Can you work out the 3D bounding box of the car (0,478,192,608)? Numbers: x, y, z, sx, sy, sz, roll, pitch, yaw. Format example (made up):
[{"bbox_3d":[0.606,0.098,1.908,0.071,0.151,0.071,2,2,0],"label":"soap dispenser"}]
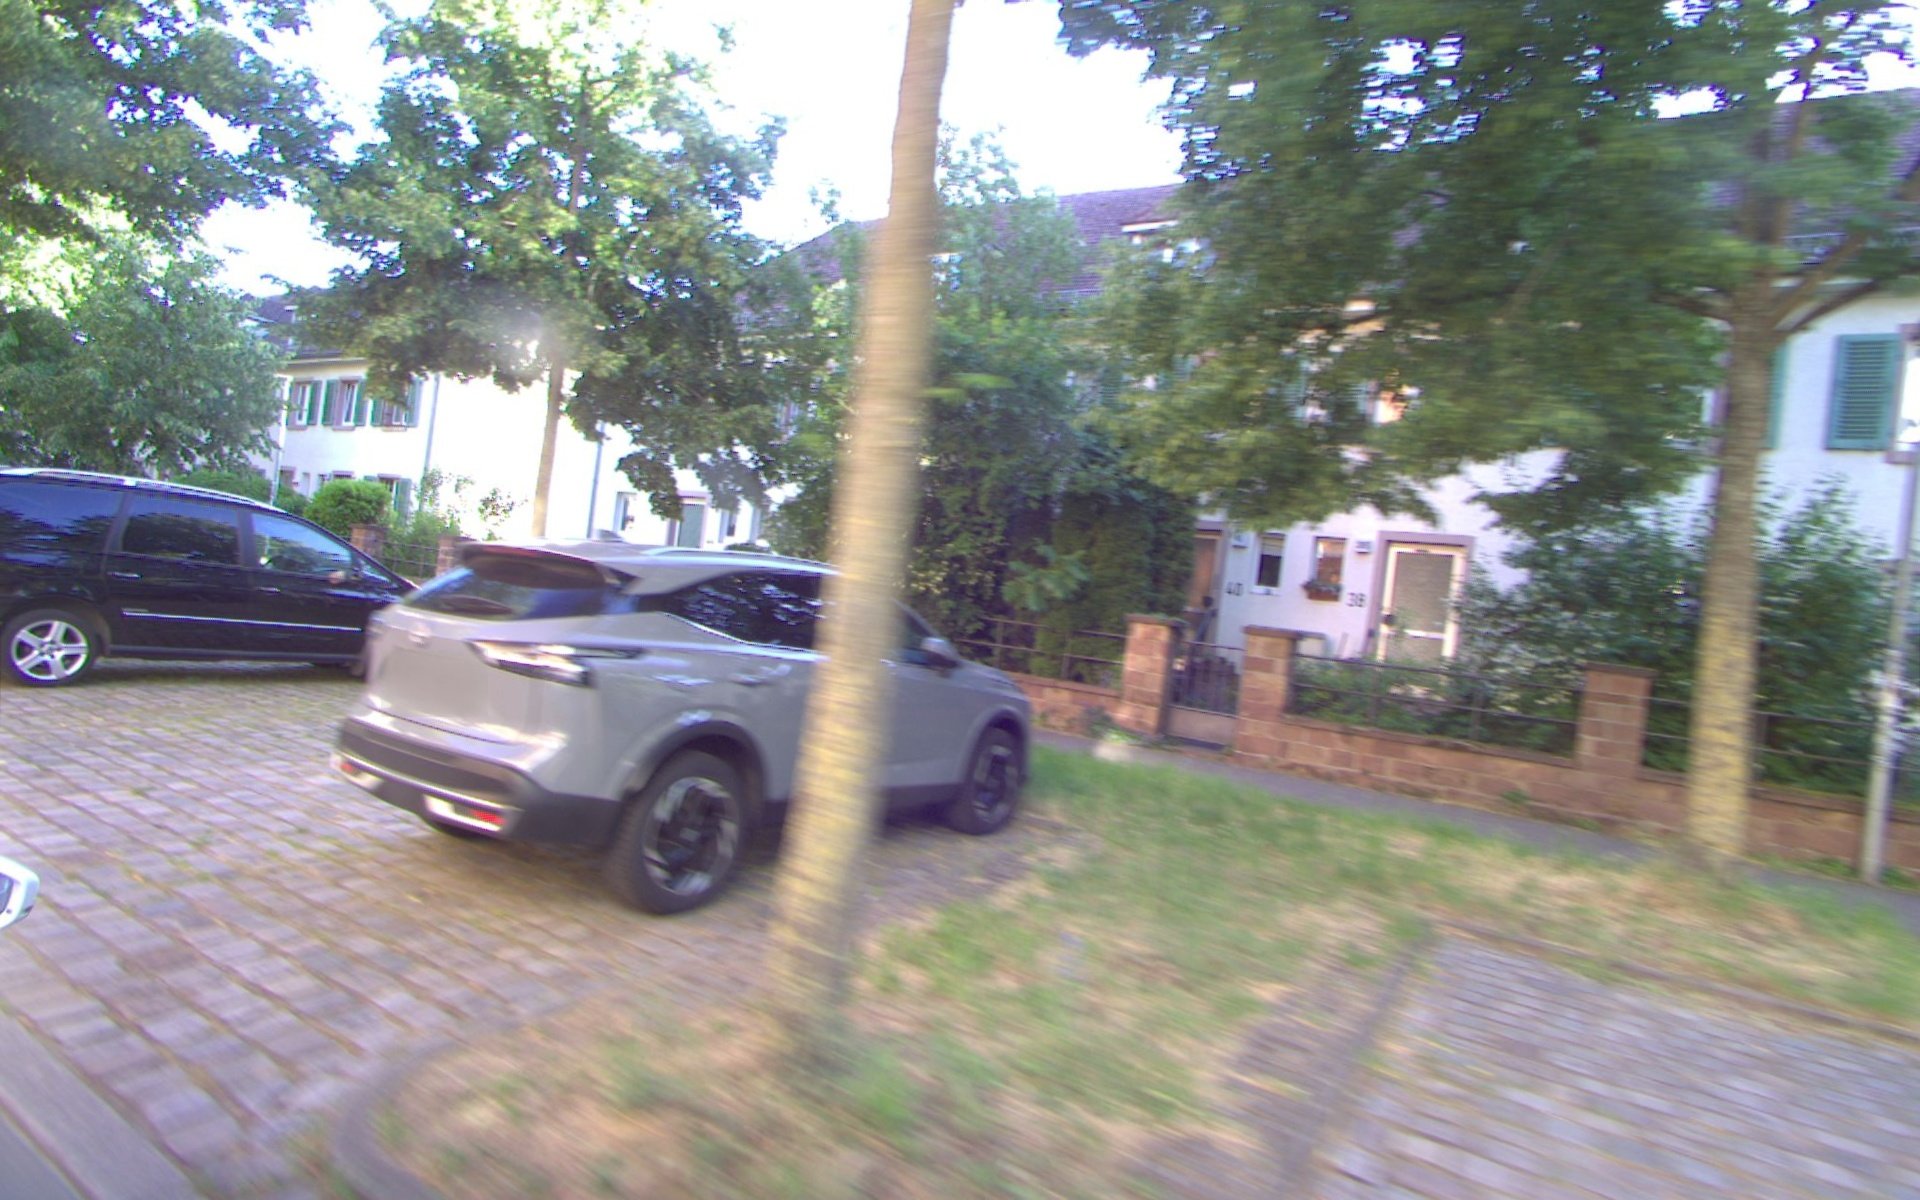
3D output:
[{"bbox_3d":[-13.438,-0.866,13.798,1.663,1.655,4.270,7,2,35],"label":"car"}]

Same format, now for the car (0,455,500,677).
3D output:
[{"bbox_3d":[-7.151,-0.282,9.701,1.876,1.699,4.580,7,2,33],"label":"car"}]

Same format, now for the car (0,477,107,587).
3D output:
[{"bbox_3d":[-16.055,-1.182,15.129,1.780,1.655,4.545,6,2,26],"label":"car"}]

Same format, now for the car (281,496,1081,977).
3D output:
[{"bbox_3d":[-1.098,0.514,5.994,1.844,1.655,4.477,7,2,31],"label":"car"}]

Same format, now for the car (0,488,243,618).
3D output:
[{"bbox_3d":[-11.496,-0.611,12.616,1.562,1.473,3.723,7,2,31],"label":"car"}]
